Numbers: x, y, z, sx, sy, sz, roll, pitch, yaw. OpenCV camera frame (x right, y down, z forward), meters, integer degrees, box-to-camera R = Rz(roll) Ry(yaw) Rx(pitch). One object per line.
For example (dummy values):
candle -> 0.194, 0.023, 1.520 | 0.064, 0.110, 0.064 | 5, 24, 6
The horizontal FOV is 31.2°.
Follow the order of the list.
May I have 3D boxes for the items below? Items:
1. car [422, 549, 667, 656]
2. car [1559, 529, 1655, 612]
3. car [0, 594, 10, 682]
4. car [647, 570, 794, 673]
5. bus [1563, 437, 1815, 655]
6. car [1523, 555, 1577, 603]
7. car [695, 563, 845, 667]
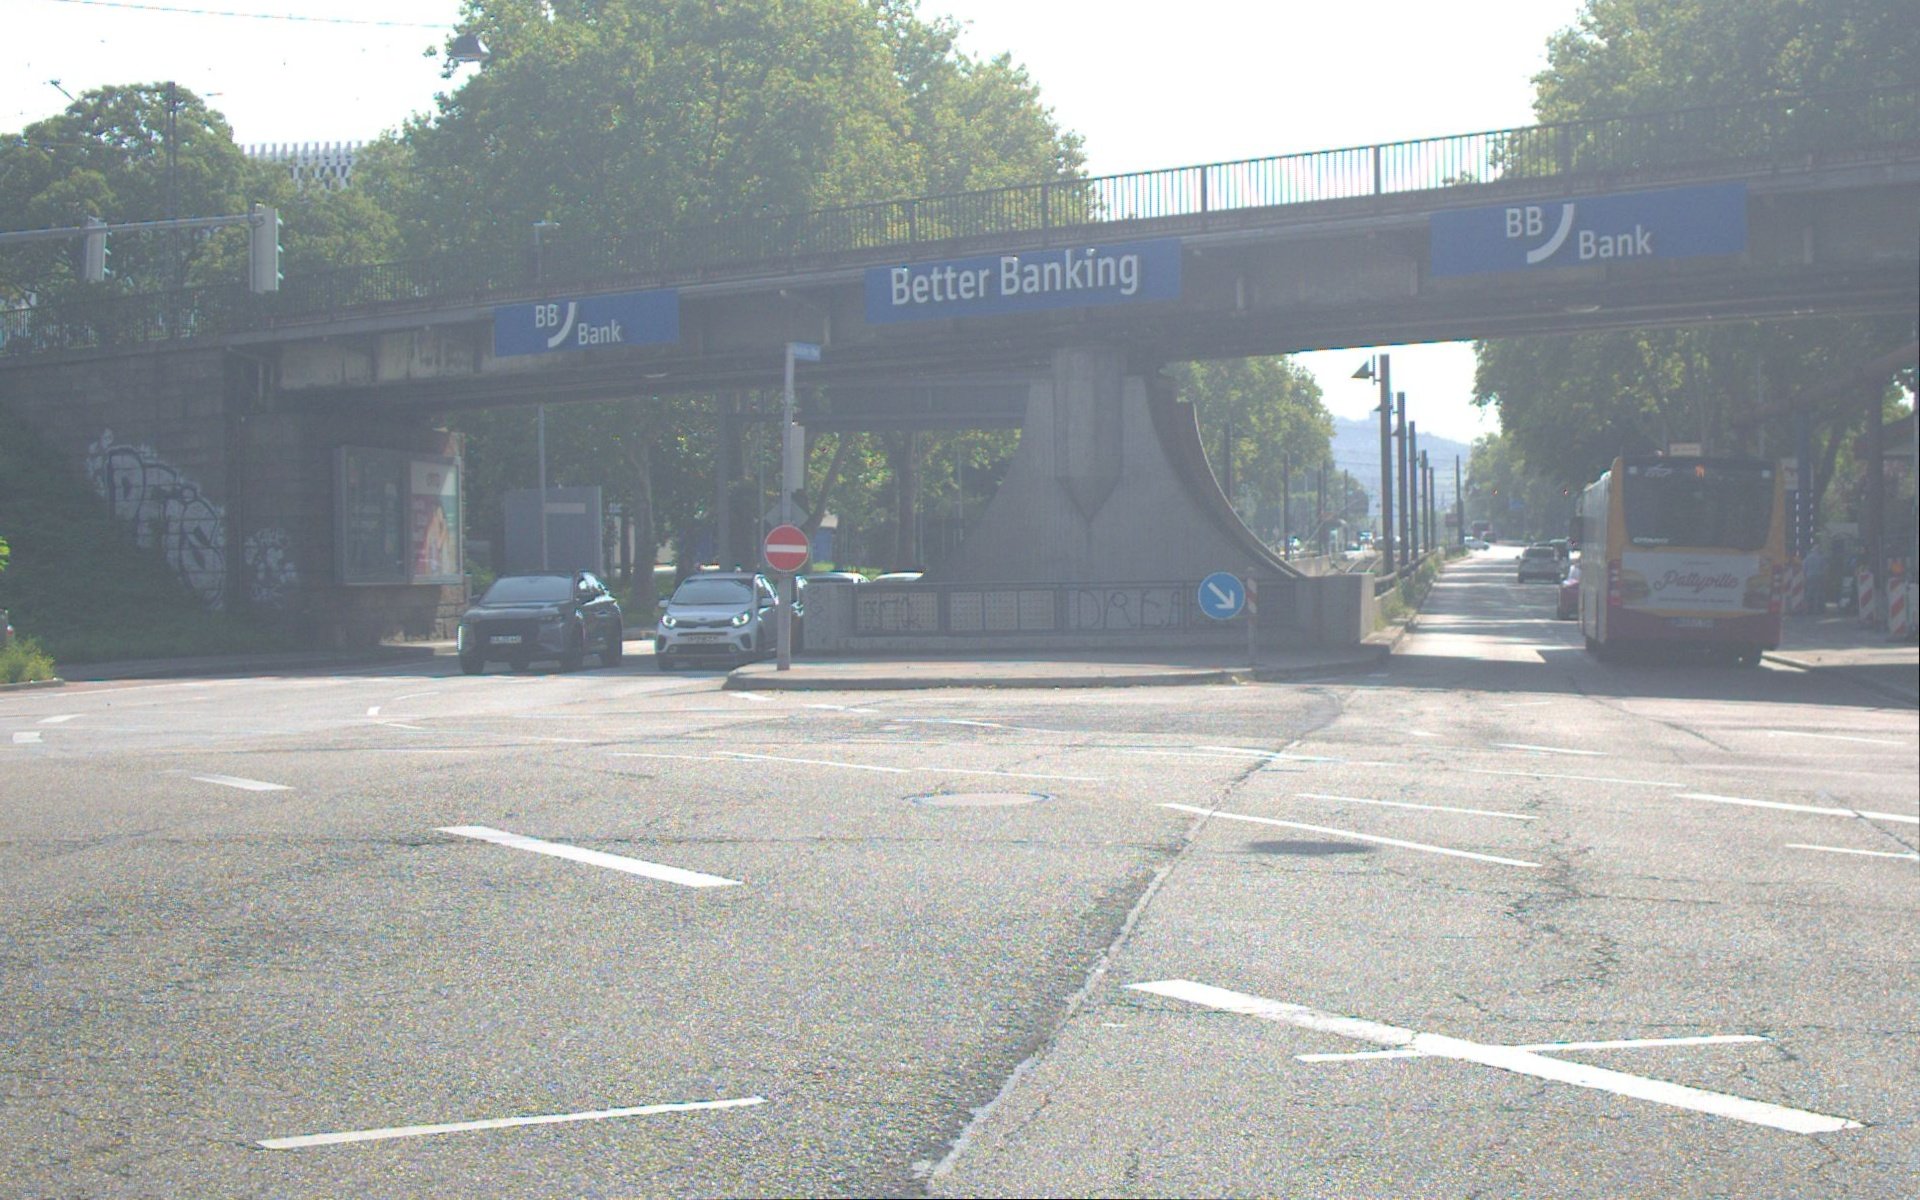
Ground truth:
car -> -6.681, 0.021, 55.759 | 1.904, 1.611, 4.469 | -2, 0, 24
car -> 16.540, -0.751, 88.004 | 1.994, 2.007, 3.999 | 2, 1, 5
car -> -17.793, 0.573, 56.412 | 3.986, 1.423, 1.787 | 2, 1, -25
car -> -3.740, 0.315, 54.241 | 1.721, 1.533, 3.695 | -1, 0, 5
bus -> 11.495, -0.832, 55.321 | 3.136, 3.103, 12.286 | 1, 1, 8
car -> 25.992, -0.927, 151.643 | 1.994, 2.007, 3.999 | 2, 1, 5
car -> -3.209, 0.228, 58.892 | 1.994, 1.567, 4.347 | 0, 2, 5
